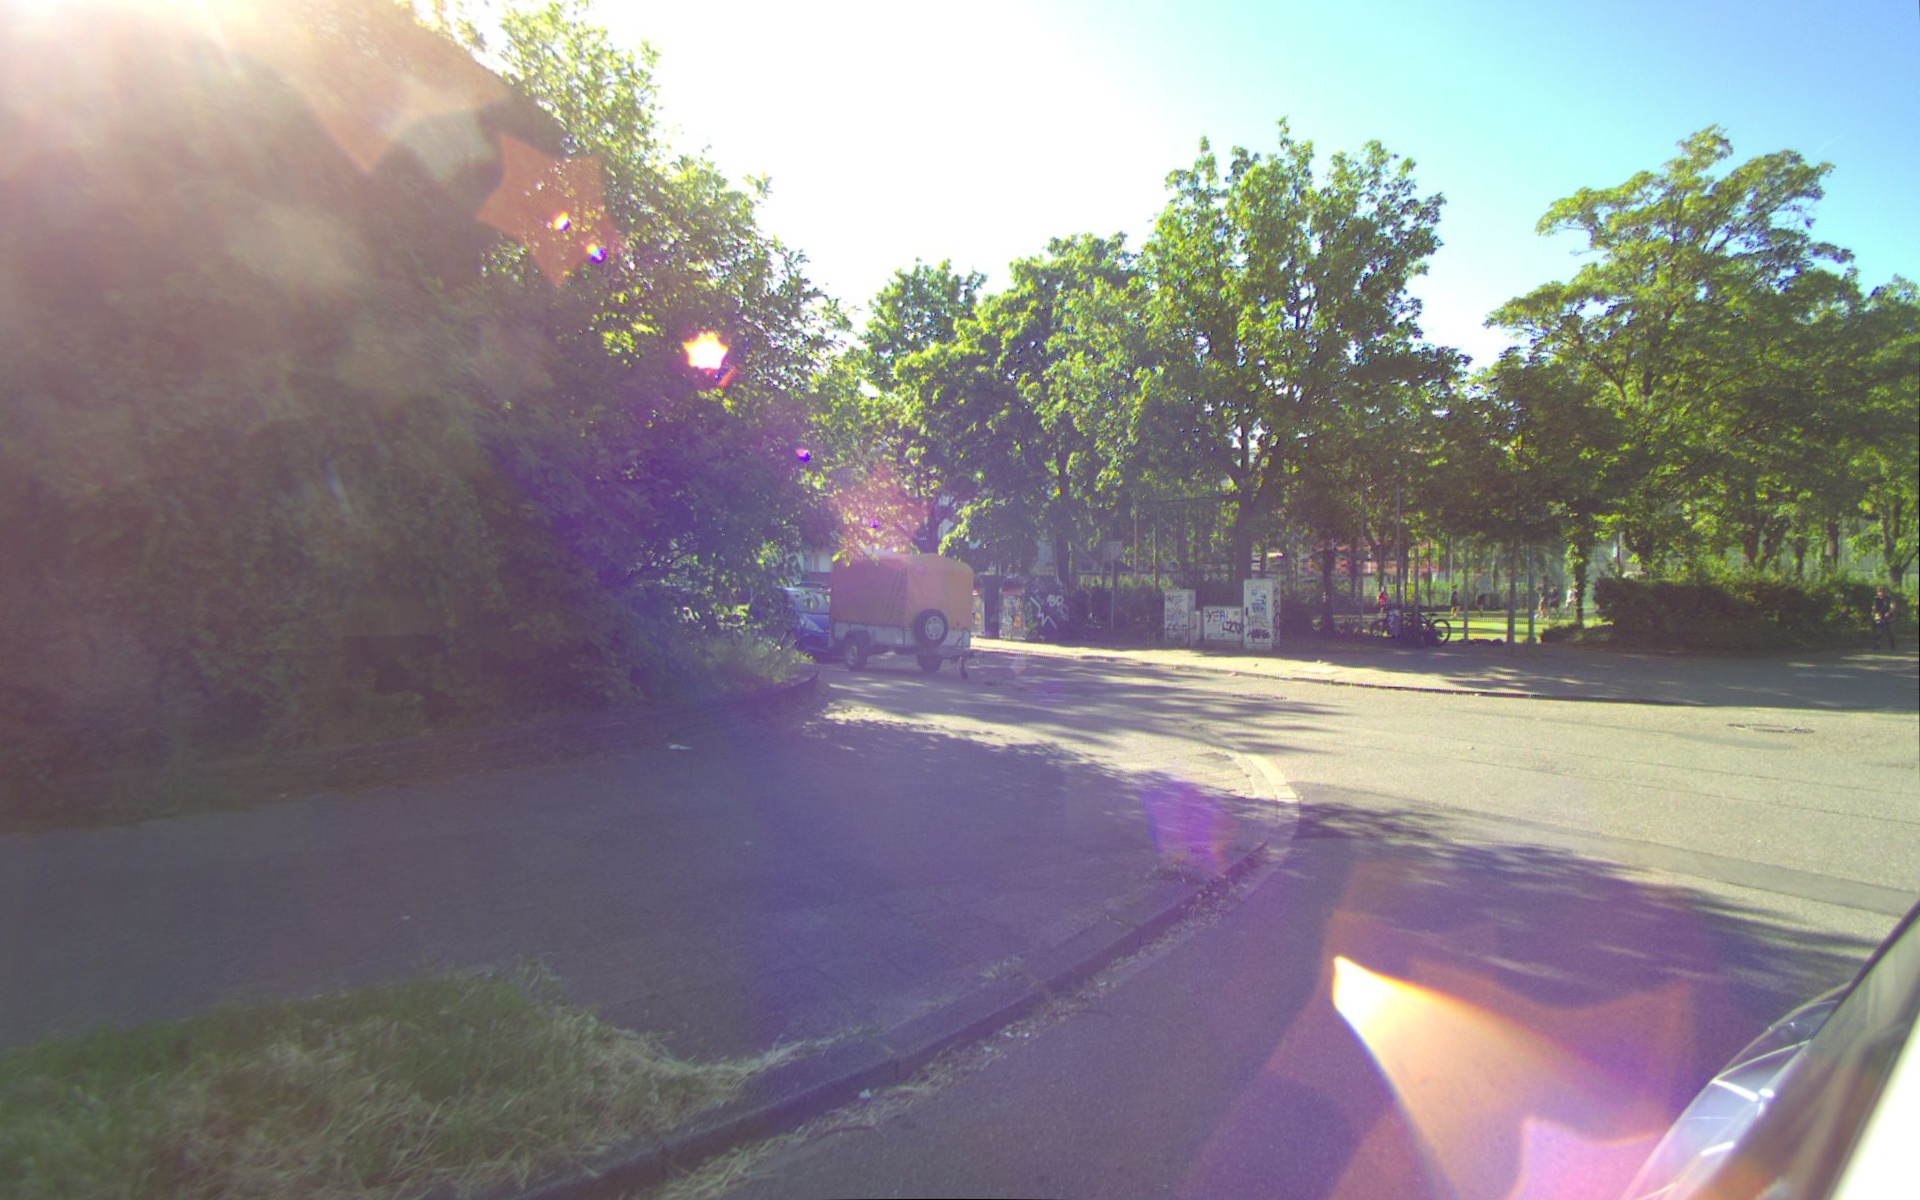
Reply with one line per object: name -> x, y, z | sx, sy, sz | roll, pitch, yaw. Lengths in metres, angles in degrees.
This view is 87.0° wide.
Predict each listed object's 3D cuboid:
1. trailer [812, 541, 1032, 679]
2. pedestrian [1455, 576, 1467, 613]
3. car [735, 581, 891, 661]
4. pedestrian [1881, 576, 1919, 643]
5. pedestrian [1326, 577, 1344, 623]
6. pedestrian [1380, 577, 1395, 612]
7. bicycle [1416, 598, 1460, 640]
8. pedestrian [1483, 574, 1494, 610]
trailer -> -0.792, 0.123, 17.920 | 1.941, 2.146, 4.075 | 1, 0, -35
pedestrian -> 21.175, -0.240, 42.785 | 0.386, 1.555, 0.320 | 1, 0, -39
car -> -3.281, 0.363, 21.973 | 1.854, 1.530, 3.932 | -1, 2, -34
pedestrian -> 23.829, 0.229, 25.603 | 0.628, 1.659, 0.642 | 0, 0, -32
pedestrian -> 13.000, -0.002, 35.093 | 0.422, 1.555, 0.437 | 1, 0, -39
pedestrian -> 18.860, -0.252, 44.668 | 0.422, 1.555, 0.437 | 1, 0, -39
bicycle -> 11.284, 0.448, 23.910 | 0.891, 0.970, 0.294 | 0, 0, 7
pedestrian -> 23.262, -0.361, 44.545 | 0.394, 1.555, 0.317 | 1, 0, -39
